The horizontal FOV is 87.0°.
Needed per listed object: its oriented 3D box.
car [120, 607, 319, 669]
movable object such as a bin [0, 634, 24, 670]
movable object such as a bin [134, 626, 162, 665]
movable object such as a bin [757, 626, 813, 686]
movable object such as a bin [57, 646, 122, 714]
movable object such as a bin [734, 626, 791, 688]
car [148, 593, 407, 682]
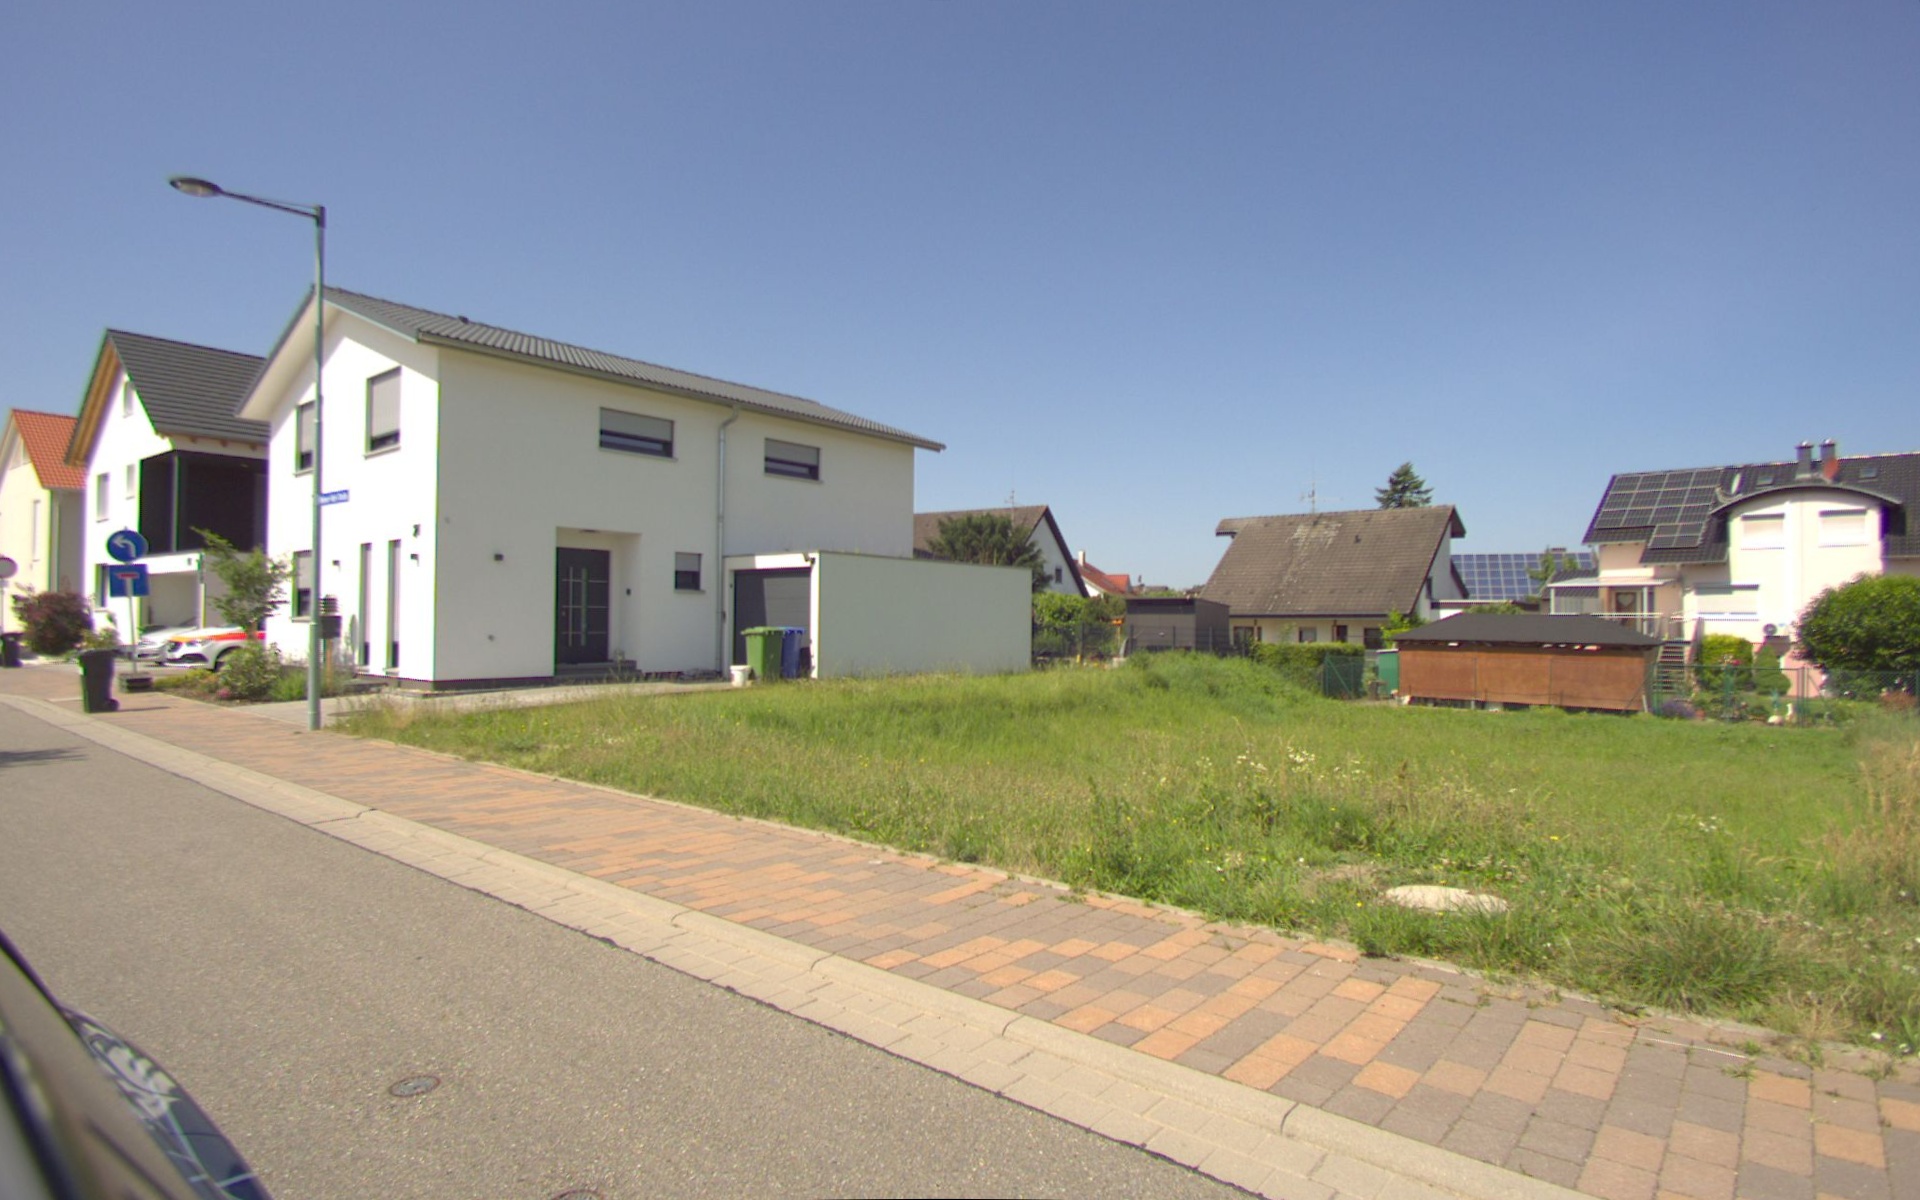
[{"bbox_3d":[-20.543,1.053,28.226,1.741,1.574,4.116,-1,-2,34],"label":"car"},{"bbox_3d":[-25.041,1.357,26.554,0.563,0.944,0.611,-1,-2,36],"label":"movable object such as a bin"},{"bbox_3d":[-23.613,1.325,29.440,0.600,1.100,0.494,-2,-3,36],"label":"movable object such as a bin"},{"bbox_3d":[-3.299,1.045,19.044,0.807,1.107,0.663,-1,-3,41],"label":"movable object such as a bin"},{"bbox_3d":[-12.823,1.167,14.909,0.499,0.955,0.617,1,-1,36],"label":"movable object such as a bin"},{"bbox_3d":[-3.599,1.032,18.486,0.784,1.107,0.653,-1,-3,40],"label":"movable object such as a bin"},{"bbox_3d":[-15.967,0.870,23.929,1.935,1.889,4.691,0,-2,37],"label":"car"}]
